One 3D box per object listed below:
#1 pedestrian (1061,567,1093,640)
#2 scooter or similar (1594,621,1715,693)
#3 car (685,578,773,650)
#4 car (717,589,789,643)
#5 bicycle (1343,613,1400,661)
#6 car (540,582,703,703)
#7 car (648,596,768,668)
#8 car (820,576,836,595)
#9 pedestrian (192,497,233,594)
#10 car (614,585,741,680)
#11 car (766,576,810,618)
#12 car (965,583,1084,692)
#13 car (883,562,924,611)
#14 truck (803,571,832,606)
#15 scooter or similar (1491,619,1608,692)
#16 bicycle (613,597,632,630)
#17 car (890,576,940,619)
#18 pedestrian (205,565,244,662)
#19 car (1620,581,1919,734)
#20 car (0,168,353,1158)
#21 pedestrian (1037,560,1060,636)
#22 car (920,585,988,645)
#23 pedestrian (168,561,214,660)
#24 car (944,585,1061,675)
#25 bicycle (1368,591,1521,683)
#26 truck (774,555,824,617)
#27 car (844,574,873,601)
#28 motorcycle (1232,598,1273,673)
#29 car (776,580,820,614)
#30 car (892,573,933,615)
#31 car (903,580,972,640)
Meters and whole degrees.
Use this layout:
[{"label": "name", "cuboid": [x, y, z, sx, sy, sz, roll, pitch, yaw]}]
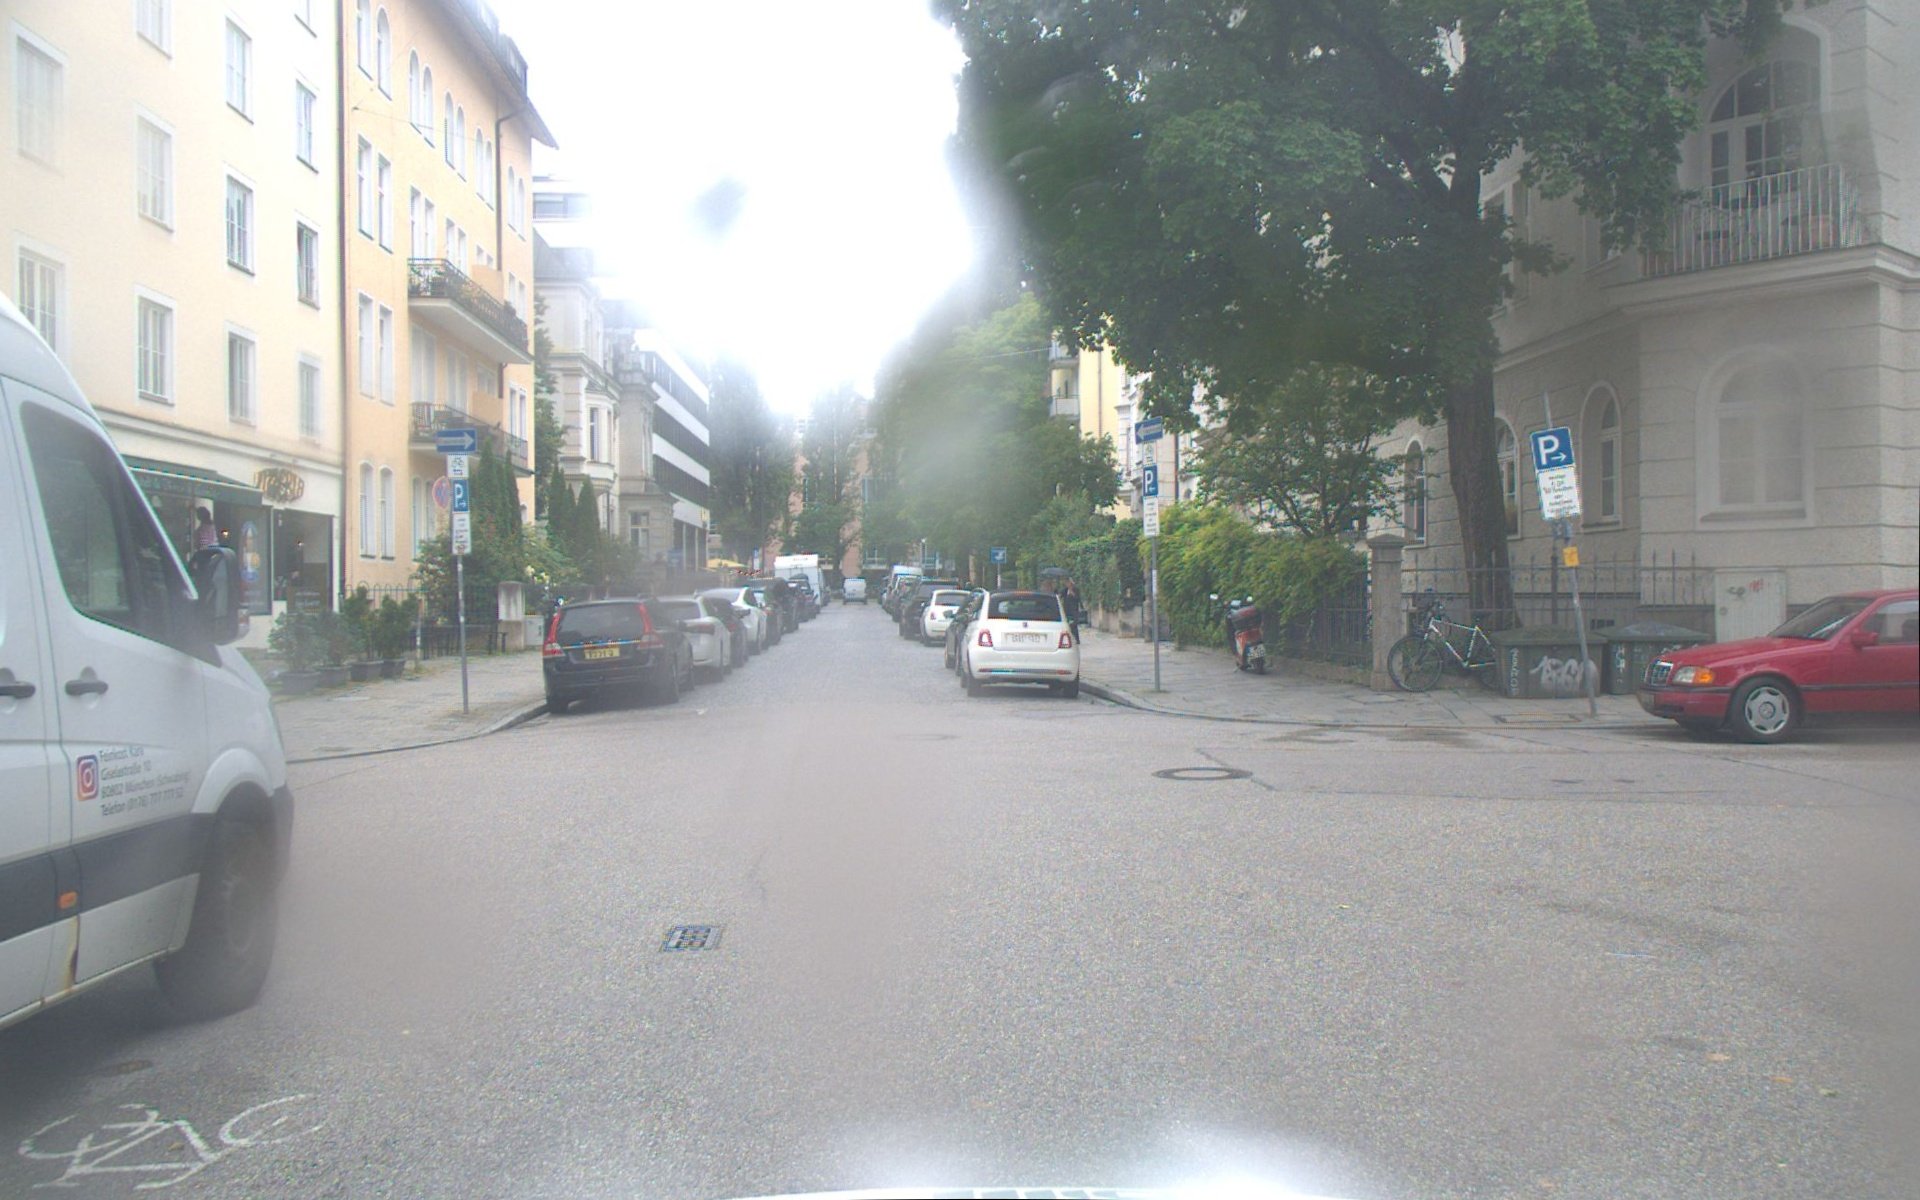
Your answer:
[{"label": "pedestrian", "cuboid": [2.968, 0.086, 42.062, 0.644, 1.840, 0.630, 0, 0, 22]}, {"label": "scooter or similar", "cuboid": [8.493, 0.686, 20.253, 1.211, 0.840, 0.697, 0, 0, 6]}, {"label": "car", "cuboid": [-5.610, 0.327, 40.589, 1.738, 1.676, 4.388, 0, 0, -3]}, {"label": "car", "cuboid": [-5.805, 0.438, 46.849, 1.738, 1.454, 4.388, 0, 0, -4]}, {"label": "bicycle", "cuboid": [7.413, 0.653, 29.858, 0.481, 0.826, 2.273, 0, 0, 1]}, {"label": "car", "cuboid": [-4.887, 0.569, 24.441, 1.816, 1.614, 4.743, 0, 0, -5]}, {"label": "car", "cuboid": [-5.183, 0.626, 34.542, 1.737, 1.383, 4.391, 0, 0, 1]}, {"label": "car", "cuboid": [-11.350, -1.265, 142.225, 1.251, 1.568, 3.118, 0, 0, -2]}, {"label": "pedestrian", "cuboid": [-13.084, -0.949, 28.963, 0.467, 1.671, 0.497, 0, 0, 0]}, {"label": "car", "cuboid": [-4.922, 0.530, 29.302, 1.738, 1.563, 4.537, 0, 0, -4]}, {"label": "car", "cuboid": [-7.359, -0.138, 71.129, 1.739, 1.748, 4.387, 0, 0, -4]}, {"label": "car", "cuboid": [0.892, 0.513, 24.685, 1.472, 1.497, 3.793, 0, 0, -2]}, {"label": "car", "cuboid": [-3.088, -0.755, 89.312, 1.858, 2.468, 5.606, 4, 1, -4]}, {"label": "truck", "cuboid": [-10.023, -0.786, 116.659, 1.954, 2.388, 4.065, 0, 0, -4]}, {"label": "scooter or similar", "cuboid": [7.234, 0.670, 20.347, 1.158, 0.863, 0.925, 0, 0, 6]}, {"label": "bicycle", "cuboid": [-10.562, 0.421, 51.804, 0.345, 1.020, 1.572, 0, 0, -2]}, {"label": "car", "cuboid": [-1.961, -0.107, 71.053, 1.924, 1.789, 4.950, 0, 0, -4]}, {"label": "pedestrian", "cuboid": [-13.172, 0.246, 29.635, 0.452, 1.720, 0.574, 0, 0, -4]}, {"label": "car", "cuboid": [8.822, 0.510, 15.763, 4.373, 1.381, 1.761, 0, 0, 4]}, {"label": "car", "cuboid": [-3.504, 0.178, 4.094, 1.937, 2.619, 5.792, -2, 0, -2]}, {"label": "pedestrian", "cuboid": [2.229, -0.045, 41.598, 0.563, 1.882, 0.682, -1, 0, 4]}, {"label": "car", "cuboid": [-0.208, 0.396, 45.225, 1.598, 1.495, 3.656, 2, 0, -4]}, {"label": "pedestrian", "cuboid": [-13.049, 0.175, 28.074, 0.511, 1.671, 0.629, 0, 0, -4]}, {"label": "car", "cuboid": [0.705, 0.516, 30.749, 1.616, 1.446, 4.628, 3, 0, -5]}, {"label": "bicycle", "cuboid": [6.209, 0.471, 21.250, 1.799, 1.144, 0.563, -1, 0, 6]}, {"label": "truck", "cuboid": [-8.479, -0.742, 87.672, 2.459, 3.084, 6.379, -2, 1, -5]}, {"label": "car", "cuboid": [-7.382, -0.886, 120.509, 1.956, 1.970, 3.998, 0, 0, -2]}, {"label": "motorcycle", "cuboid": [4.509, 0.532, 25.512, 0.355, 1.109, 1.403, 0, 0, -1]}, {"label": "car", "cuboid": [-7.462, -0.138, 76.498, 1.902, 1.485, 4.054, 0, 0, -5]}, {"label": "car", "cuboid": [-2.453, -0.300, 83.892, 1.765, 1.983, 4.856, 3, 0, -4]}, {"label": "car", "cuboid": [-0.727, 0.293, 50.281, 1.838, 1.702, 5.487, 0, 0, -3]}]
